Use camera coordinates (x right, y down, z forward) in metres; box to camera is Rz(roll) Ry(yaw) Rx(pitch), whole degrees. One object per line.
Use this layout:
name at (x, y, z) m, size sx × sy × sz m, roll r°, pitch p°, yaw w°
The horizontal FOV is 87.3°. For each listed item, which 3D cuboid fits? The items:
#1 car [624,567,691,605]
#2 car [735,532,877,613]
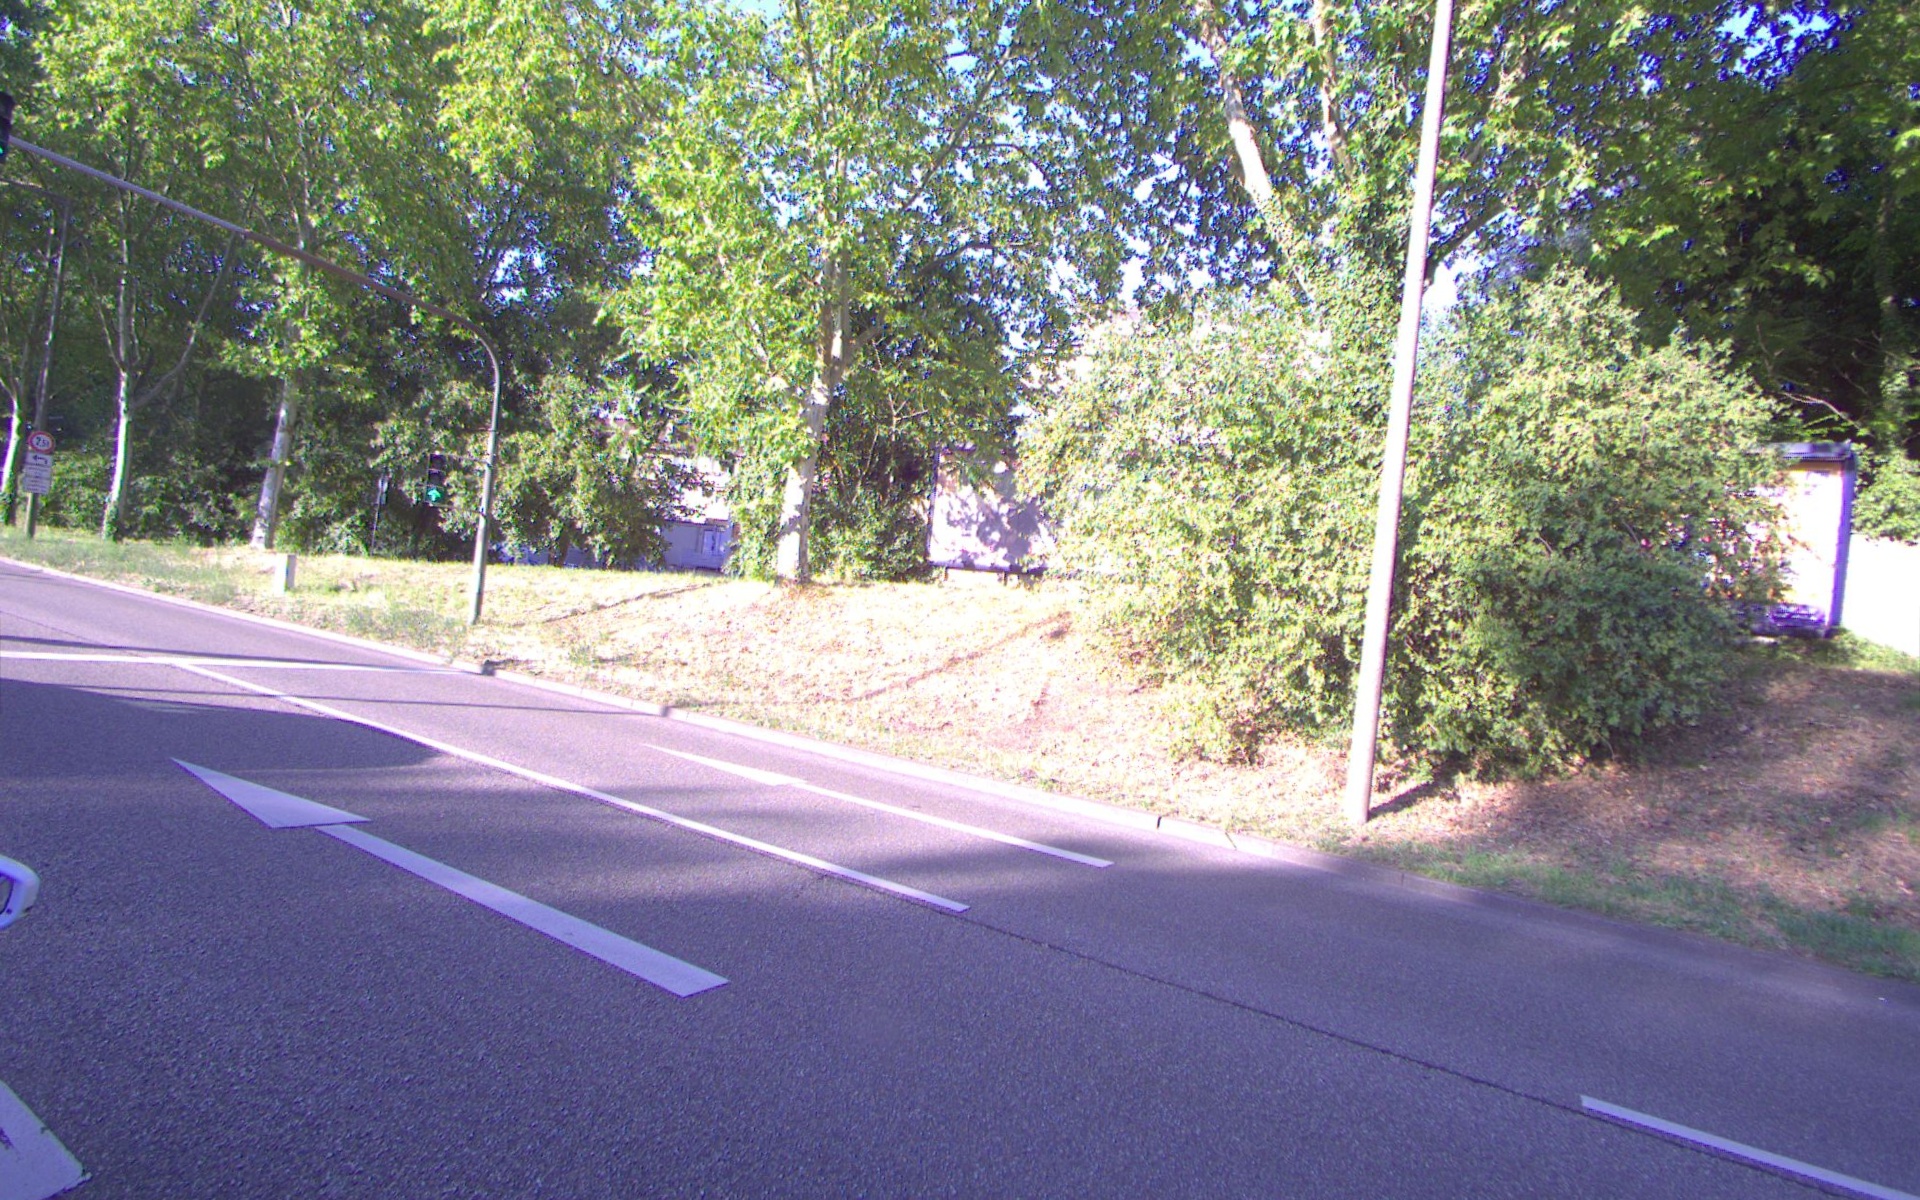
car at (-18.280, -0.821, 60.969) m, size 1.882 × 1.725 × 4.005 m, roll 7°, pitch -2°, yaw 16°
car at (-5.983, -1.093, 38.662) m, size 5.543 × 2.542 × 1.802 m, roll 6°, pitch -2°, yaw 37°
